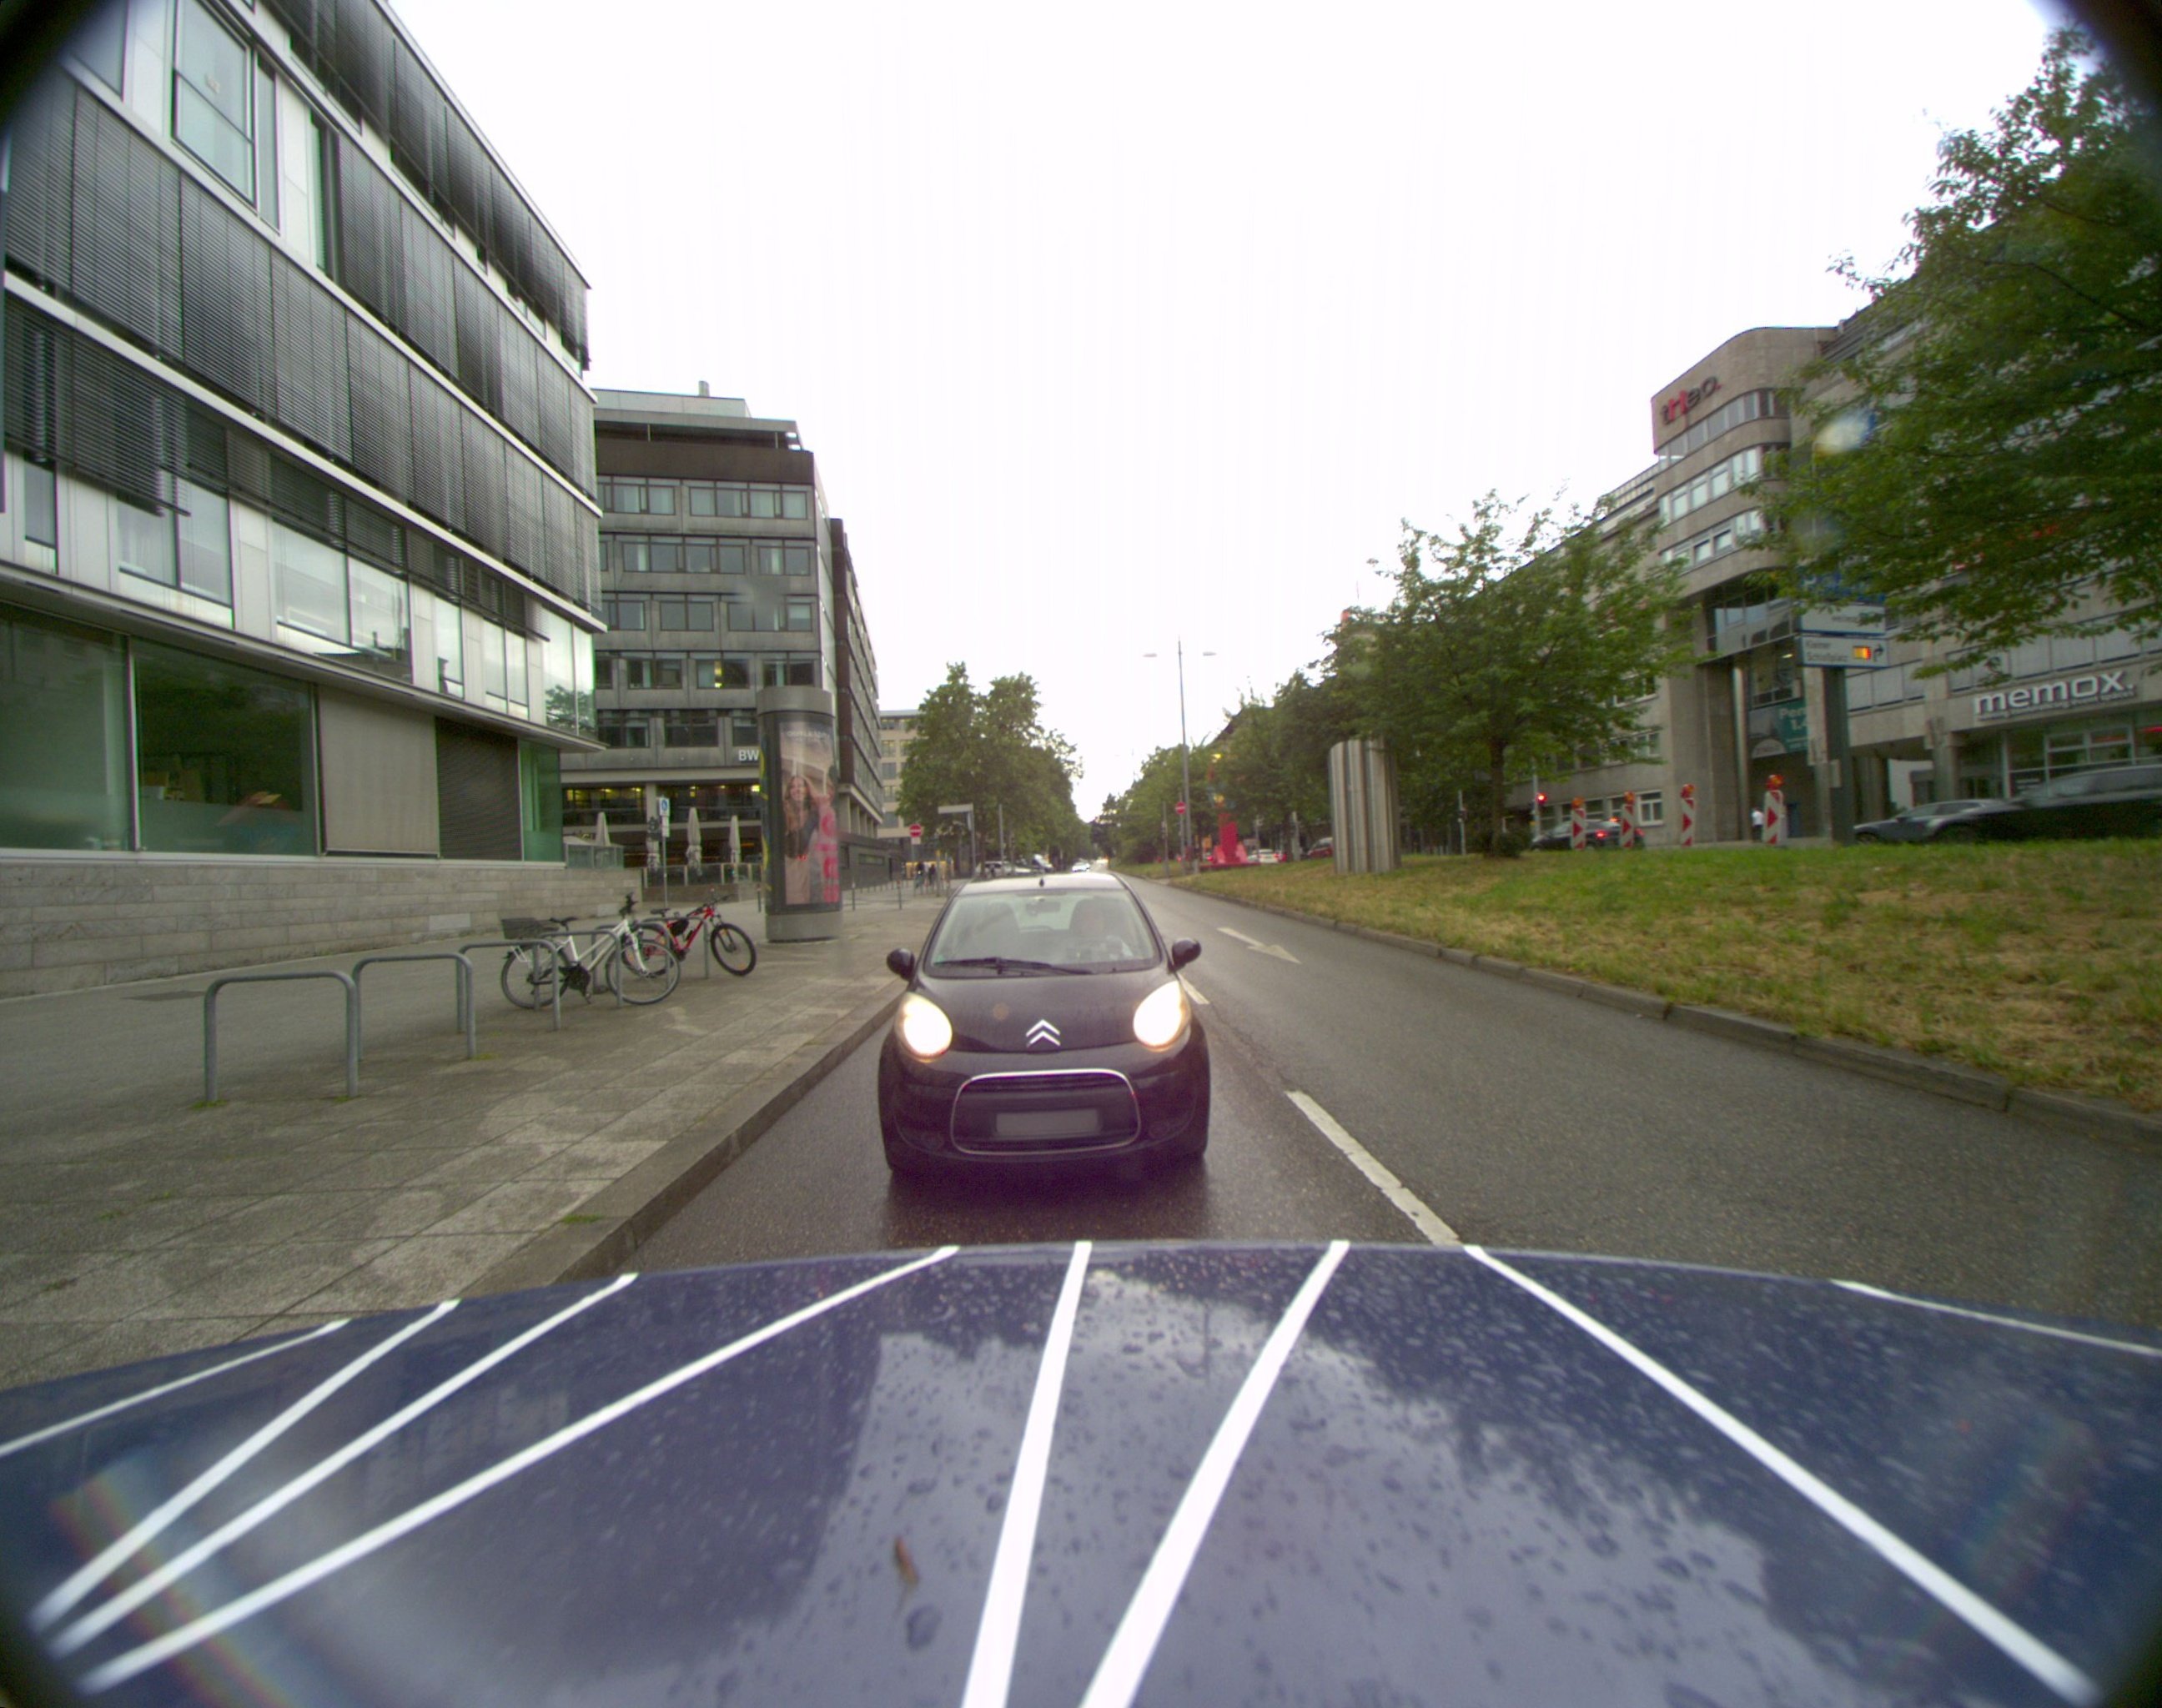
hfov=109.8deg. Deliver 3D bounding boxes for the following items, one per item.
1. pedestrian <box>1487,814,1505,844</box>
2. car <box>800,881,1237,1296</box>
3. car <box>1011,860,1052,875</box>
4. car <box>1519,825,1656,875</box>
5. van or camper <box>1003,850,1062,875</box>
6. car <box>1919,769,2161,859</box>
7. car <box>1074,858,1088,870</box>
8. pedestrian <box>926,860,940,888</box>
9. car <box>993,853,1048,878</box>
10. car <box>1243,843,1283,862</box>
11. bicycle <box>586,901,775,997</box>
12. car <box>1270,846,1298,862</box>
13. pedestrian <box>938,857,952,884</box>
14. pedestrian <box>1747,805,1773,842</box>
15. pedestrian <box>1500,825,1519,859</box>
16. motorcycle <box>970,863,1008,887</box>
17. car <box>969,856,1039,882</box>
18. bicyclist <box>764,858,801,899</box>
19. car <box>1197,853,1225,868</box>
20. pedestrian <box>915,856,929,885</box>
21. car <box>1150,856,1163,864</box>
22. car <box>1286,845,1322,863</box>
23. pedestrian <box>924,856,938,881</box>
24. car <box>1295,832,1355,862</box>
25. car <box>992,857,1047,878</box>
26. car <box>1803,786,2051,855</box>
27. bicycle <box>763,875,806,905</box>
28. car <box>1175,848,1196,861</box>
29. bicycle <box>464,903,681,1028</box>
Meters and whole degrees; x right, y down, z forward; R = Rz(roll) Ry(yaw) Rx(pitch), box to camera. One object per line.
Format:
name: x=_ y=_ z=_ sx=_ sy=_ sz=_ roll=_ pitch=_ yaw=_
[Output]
pedestrian: x=23.069 y=-1.383 z=42.255 sx=0.607 sy=1.619 sz=0.620 roll=-3 pitch=0 yaw=1
car: x=-0.280 y=0.981 z=4.891 sx=1.634 sy=1.408 sz=3.834 roll=-3 pitch=0 yaw=-1
car: x=-5.381 y=1.445 z=82.705 sx=4.052 sy=1.415 sz=1.711 roll=-4 pitch=0 yaw=29
car: x=17.560 y=-0.121 z=26.601 sx=1.810 sy=1.477 sz=3.998 roll=-5 pitch=0 yaw=-6
van or camper: x=-5.518 y=1.012 z=86.371 sx=6.251 sy=2.432 sz=2.319 roll=-4 pitch=0 yaw=30
car: x=18.554 y=-0.722 z=13.652 sx=1.810 sy=1.477 sz=4.380 roll=-5 pitch=0 yaw=-9
car: x=0.020 y=1.497 z=113.767 sx=1.791 sy=1.736 sz=4.574 roll=-2 pitch=0 yaw=-3
pedestrian: x=-9.225 y=1.254 z=47.274 sx=0.721 sy=1.675 sz=0.529 roll=-3 pitch=0 yaw=-8
car: x=-5.532 y=1.059 z=69.258 sx=4.507 sy=1.981 sz=1.925 roll=-4 pitch=0 yaw=29
car: x=15.118 y=-0.089 z=63.401 sx=1.825 sy=1.466 sz=4.190 roll=-3 pitch=0 yaw=-8
bicycle: x=-5.132 y=1.201 z=9.818 sx=1.988 sy=1.097 sz=0.808 roll=-2 pitch=0 yaw=4
car: x=20.570 y=0.004 z=77.094 sx=1.690 sy=1.493 sz=3.692 roll=-2 pitch=0 yaw=-3
pedestrian: x=-10.512 y=1.243 z=58.630 sx=0.852 sy=2.027 sz=0.753 roll=-3 pitch=0 yaw=-3
pedestrian: x=33.825 y=-1.509 z=37.835 sx=0.721 sy=1.777 sz=0.529 roll=-3 pitch=0 yaw=-2
pedestrian: x=23.269 y=-0.652 z=41.251 sx=0.529 sy=1.777 sz=0.721 roll=-3 pitch=0 yaw=1
motorcycle: x=-5.590 y=1.274 z=46.064 sx=2.087 sy=1.349 sz=0.677 roll=-3 pitch=0 yaw=7
car: x=-5.639 y=1.104 z=55.611 sx=4.792 sy=1.640 sz=1.920 roll=-4 pitch=0 yaw=30
bicyclist: x=-12.153 y=0.986 z=30.967 sx=1.014 sy=1.573 sz=1.135 roll=-5 pitch=1 yaw=-5
car: x=14.164 y=0.707 z=83.130 sx=1.873 sy=1.466 sz=3.997 roll=-3 pitch=0 yaw=-8
pedestrian: x=-10.682 y=1.103 z=51.102 sx=0.721 sy=1.873 sz=0.656 roll=-3 pitch=0 yaw=-6
car: x=14.114 y=1.068 z=142.202 sx=1.866 sy=1.421 sz=4.132 roll=-2 pitch=0 yaw=-1
car: x=21.083 y=-0.007 z=72.105 sx=1.867 sy=1.612 sz=4.467 roll=-2 pitch=0 yaw=-3
pedestrian: x=-11.543 y=1.102 z=58.512 sx=0.803 sy=1.857 sz=0.898 roll=-3 pitch=0 yaw=0
car: x=15.419 y=-0.432 z=48.201 sx=1.730 sy=1.717 sz=4.579 roll=-3 pitch=0 yaw=-8
car: x=-5.369 y=1.199 z=66.377 sx=4.381 sy=1.528 sz=1.919 roll=-4 pitch=0 yaw=27
car: x=24.718 y=-0.885 z=22.538 sx=1.867 sy=1.715 sz=4.791 roll=-2 pitch=0 yaw=-3
bicycle: x=-12.164 y=1.448 z=31.250 sx=1.011 sy=1.107 sz=2.066 roll=-2 pitch=1 yaw=-4
car: x=14.067 y=0.095 z=102.469 sx=1.950 sy=1.690 sz=3.999 roll=-3 pitch=0 yaw=-3
bicycle: x=-5.294 y=1.146 z=7.966 sx=1.840 sy=1.190 sz=0.660 roll=-1 pitch=0 yaw=4
